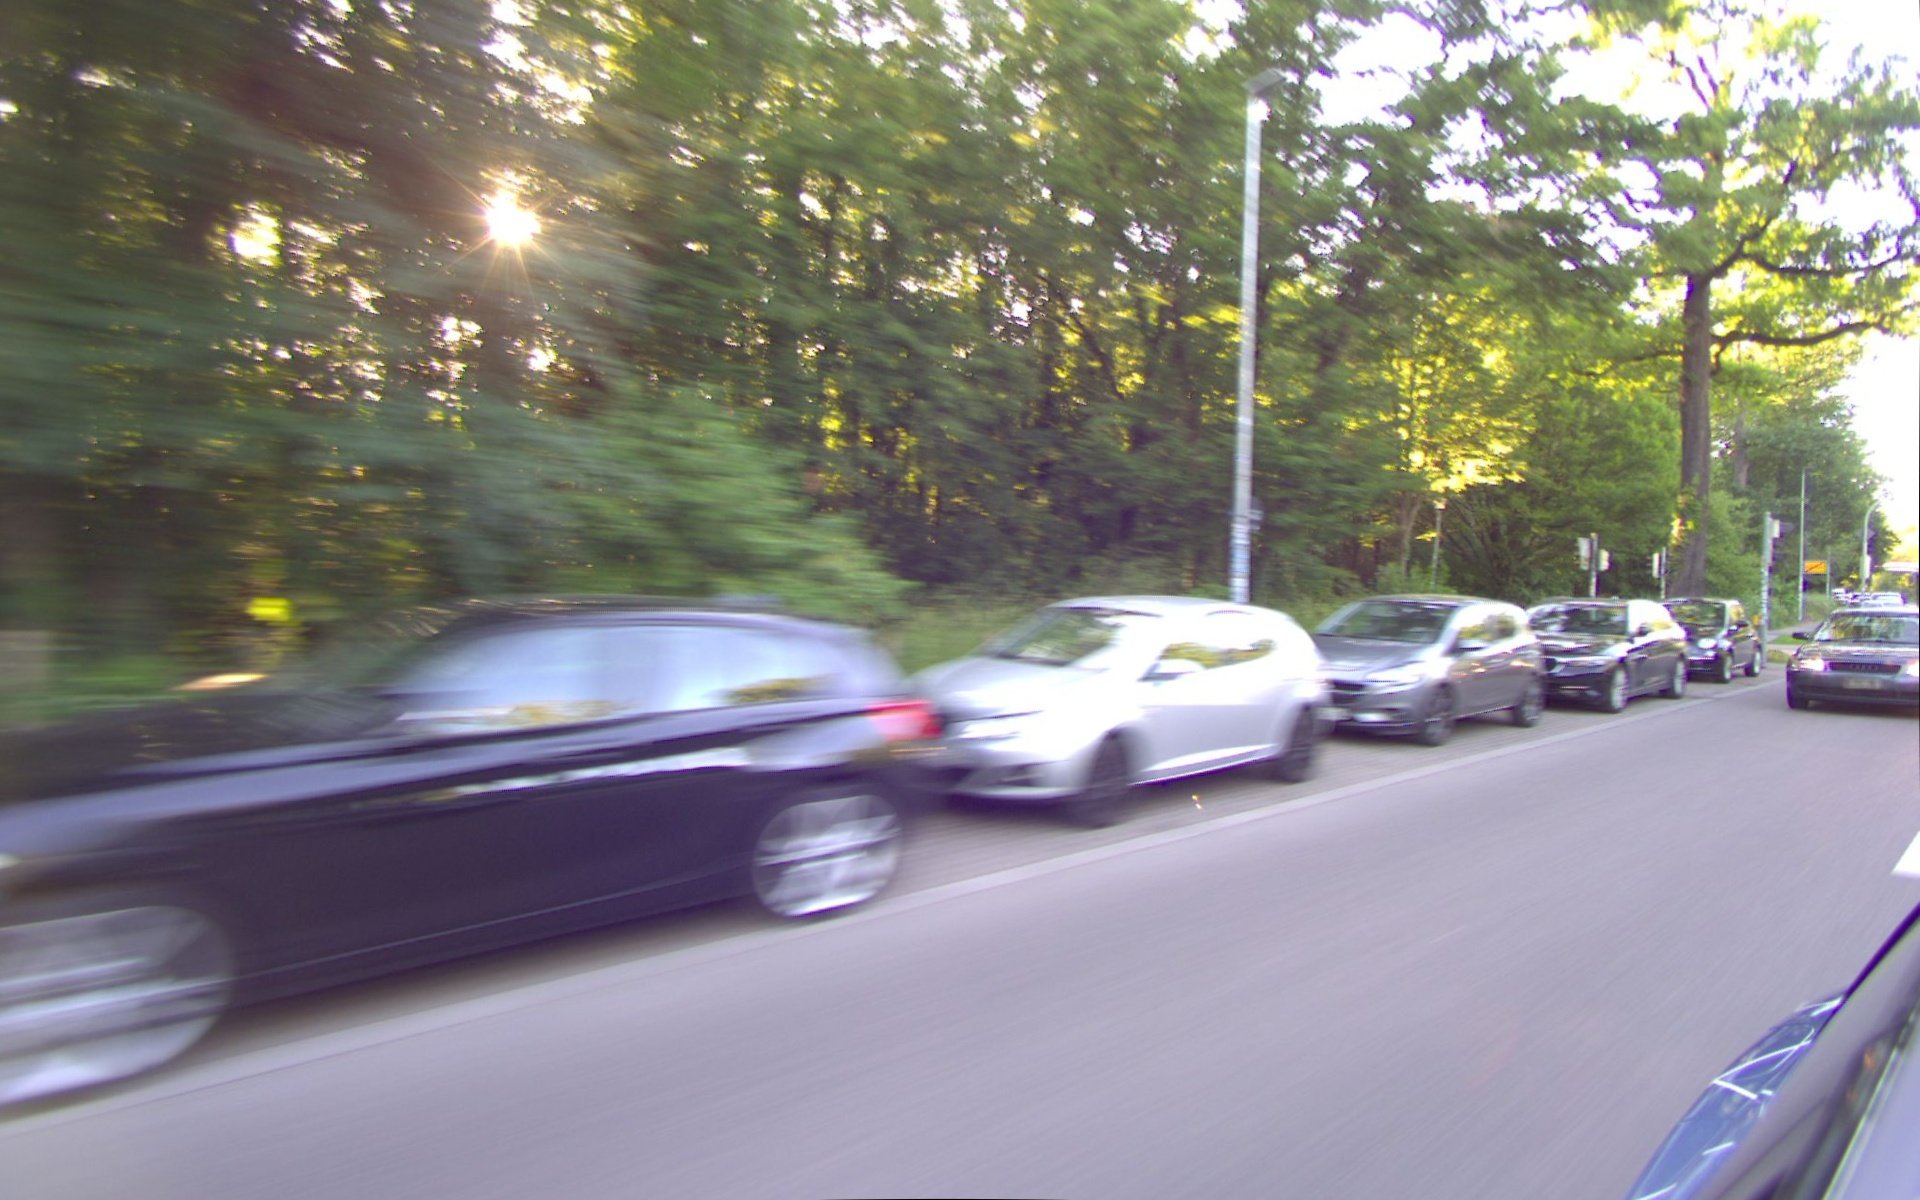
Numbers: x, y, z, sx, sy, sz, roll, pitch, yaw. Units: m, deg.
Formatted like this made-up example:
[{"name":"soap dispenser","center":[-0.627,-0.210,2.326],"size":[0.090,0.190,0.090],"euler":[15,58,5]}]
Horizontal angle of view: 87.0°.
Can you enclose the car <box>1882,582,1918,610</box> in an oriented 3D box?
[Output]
[{"name":"car","center":[68.488,-0.305,73.784],"size":[1.813,1.945,5.189],"euler":[-1,0,42]}]

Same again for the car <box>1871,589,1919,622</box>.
[{"name":"car","center":[47.181,0.237,50.825],"size":[5.032,1.487,1.764],"euler":[-1,3,-44]}]

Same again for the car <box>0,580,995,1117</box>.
[{"name":"car","center":[-2.034,0.644,4.407],"size":[4.410,1.429,1.721],"euler":[-1,2,-42]}]

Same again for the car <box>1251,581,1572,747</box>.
[{"name":"car","center":[5.168,0.549,11.327],"size":[4.130,1.487,1.721],"euler":[-1,2,-42]}]

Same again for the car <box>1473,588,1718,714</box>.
[{"name":"car","center":[9.409,0.606,14.793],"size":[4.902,1.487,1.721],"euler":[-1,2,-42]}]

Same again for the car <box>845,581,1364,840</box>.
[{"name":"car","center":[1.280,0.594,7.739],"size":[4.053,1.429,1.721],"euler":[-1,2,-42]}]

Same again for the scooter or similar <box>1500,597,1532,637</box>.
[{"name":"scooter or similar","center":[16.672,0.493,30.346],"size":[1.200,1.158,0.379],"euler":[0,1,-37]}]

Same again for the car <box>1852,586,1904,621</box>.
[{"name":"car","center":[42.861,0.127,47.230],"size":[1.718,1.487,3.814],"euler":[2,3,43]}]

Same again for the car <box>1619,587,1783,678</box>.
[{"name":"car","center":[14.033,0.529,19.103],"size":[3.691,1.487,1.721],"euler":[-1,2,-41]}]

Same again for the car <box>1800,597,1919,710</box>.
[{"name":"car","center":[13.123,0.658,14.144],"size":[3.928,1.376,1.676],"euler":[-1,0,-43]}]
